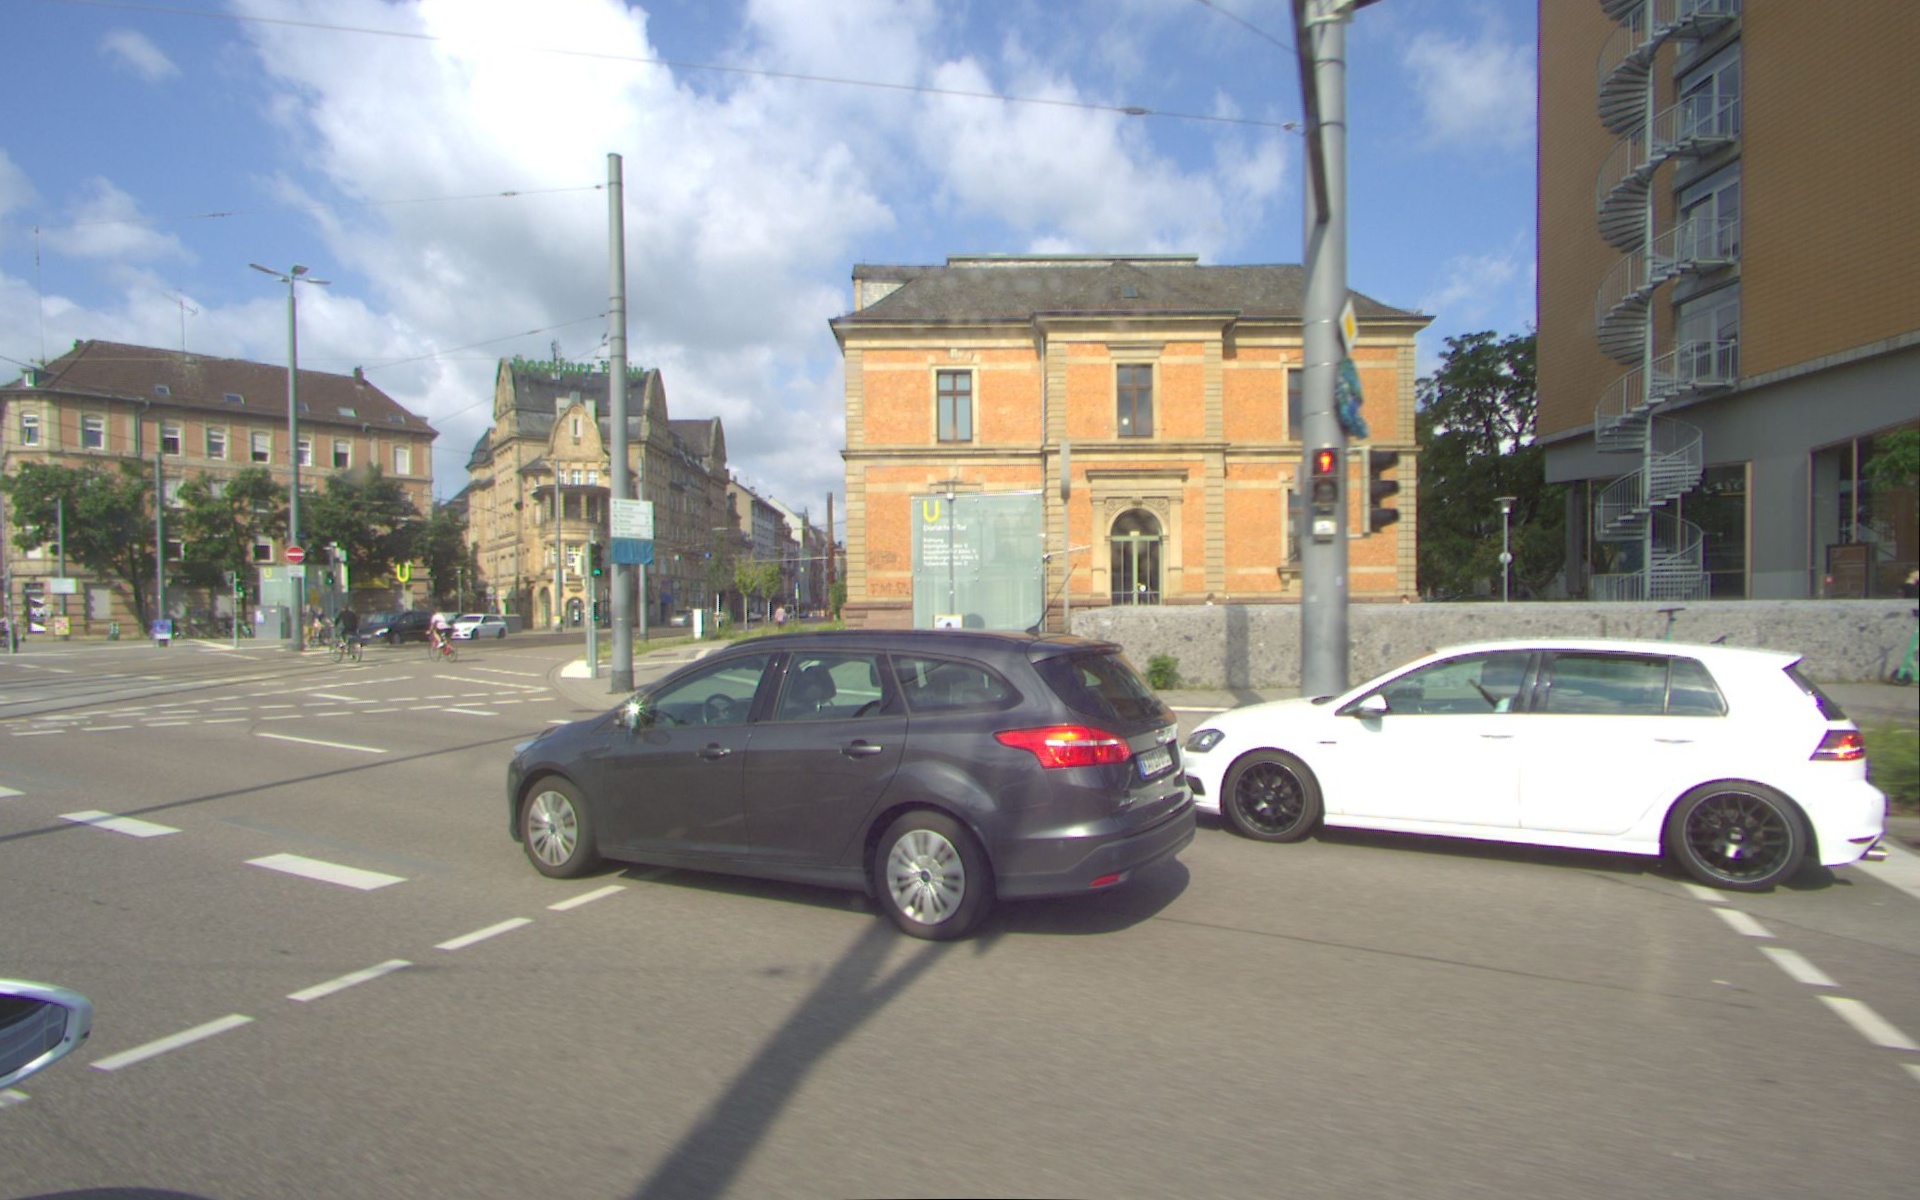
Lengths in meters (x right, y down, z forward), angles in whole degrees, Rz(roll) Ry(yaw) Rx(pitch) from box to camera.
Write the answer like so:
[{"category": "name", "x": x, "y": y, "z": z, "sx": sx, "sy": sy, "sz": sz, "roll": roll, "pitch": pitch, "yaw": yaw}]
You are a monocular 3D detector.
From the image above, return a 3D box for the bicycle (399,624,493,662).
[{"category": "bicycle", "x": -15.591, "y": 1.312, "z": 30.334, "sx": 3.062, "sy": 1.040, "sz": 0.992, "roll": -3, "pitch": -3, "yaw": 29}]

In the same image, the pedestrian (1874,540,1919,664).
[{"category": "pedestrian", "x": 15.981, "y": 0.024, "z": 16.835, "sx": 0.796, "sy": 2.041, "sz": 0.720, "roll": -1, "pitch": 3, "yaw": 33}]

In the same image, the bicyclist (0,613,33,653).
[{"category": "bicyclist", "x": -40.361, "y": 1.384, "z": 42.573, "sx": 0.770, "sy": 1.680, "sz": 1.197, "roll": -1, "pitch": 1, "yaw": -5}]

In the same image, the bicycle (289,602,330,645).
[{"category": "bicycle", "x": -27.465, "y": 1.008, "z": 42.266, "sx": 1.611, "sy": 1.800, "sz": 0.729, "roll": -1, "pitch": -1, "yaw": 26}]

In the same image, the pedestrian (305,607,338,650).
[{"category": "pedestrian", "x": -27.879, "y": 1.236, "z": 43.753, "sx": 0.871, "sy": 1.833, "sz": 0.866, "roll": 0, "pitch": -1, "yaw": 17}]

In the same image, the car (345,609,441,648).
[{"category": "car", "x": -26.876, "y": 1.369, "z": 47.653, "sx": 1.961, "sy": 1.761, "sz": 4.343, "roll": 0, "pitch": -2, "yaw": 2}]

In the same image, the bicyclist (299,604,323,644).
[{"category": "bicyclist", "x": -27.375, "y": 1.020, "z": 42.234, "sx": 0.645, "sy": 1.692, "sz": 0.572, "roll": -1, "pitch": -1, "yaw": 26}]

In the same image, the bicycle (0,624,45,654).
[{"category": "bicycle", "x": -40.355, "y": 1.642, "z": 42.418, "sx": 0.883, "sy": 1.186, "sz": 2.679, "roll": 0, "pitch": 0, "yaw": -5}]

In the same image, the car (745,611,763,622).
[{"category": "car", "x": -29.135, "y": 2.314, "z": 141.753, "sx": 1.815, "sy": 1.558, "sz": 3.822, "roll": 0, "pitch": 0, "yaw": 0}]

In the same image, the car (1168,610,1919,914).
[{"category": "car", "x": 3.727, "y": 0.889, "z": 6.856, "sx": 4.168, "sy": 1.464, "sz": 1.678, "roll": 1, "pitch": -2, "yaw": 30}]

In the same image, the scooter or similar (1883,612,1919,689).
[{"category": "scooter or similar", "x": 14.645, "y": 0.765, "z": 14.965, "sx": 0.397, "sy": 1.146, "sz": 1.183, "roll": -1, "pitch": 1, "yaw": -22}]

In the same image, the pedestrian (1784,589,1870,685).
[{"category": "pedestrian", "x": 15.352, "y": 0.631, "z": 17.735, "sx": 0.754, "sy": 1.610, "sz": 0.933, "roll": -4, "pitch": 4, "yaw": -31}]

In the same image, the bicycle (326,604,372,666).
[{"category": "bicycle", "x": -18.136, "y": 1.030, "z": 29.708, "sx": 0.996, "sy": 1.747, "sz": 2.452, "roll": 0, "pitch": -1, "yaw": -36}]

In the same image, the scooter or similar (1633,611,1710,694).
[{"category": "scooter or similar", "x": 11.036, "y": 0.792, "z": 15.562, "sx": 0.395, "sy": 1.213, "sz": 1.186, "roll": -1, "pitch": 1, "yaw": 3}]

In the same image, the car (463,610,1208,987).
[{"category": "car", "x": -0.819, "y": 0.866, "z": 6.021, "sx": 4.189, "sy": 1.549, "sz": 1.765, "roll": 0, "pitch": 2, "yaw": 28}]

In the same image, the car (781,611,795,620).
[{"category": "car", "x": -29.346, "y": 2.627, "z": 171.167, "sx": 1.815, "sy": 1.558, "sz": 3.822, "roll": 0, "pitch": 0, "yaw": 0}]

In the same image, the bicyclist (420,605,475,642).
[{"category": "bicyclist", "x": -15.503, "y": 0.714, "z": 30.300, "sx": 1.197, "sy": 1.040, "sz": 0.990, "roll": -3, "pitch": -4, "yaw": 28}]

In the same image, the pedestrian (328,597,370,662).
[{"category": "pedestrian", "x": -18.047, "y": 0.877, "z": 29.587, "sx": 0.983, "sy": 1.865, "sz": 0.989, "roll": 0, "pitch": -1, "yaw": -36}]

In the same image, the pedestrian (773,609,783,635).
[{"category": "pedestrian", "x": -10.431, "y": 1.261, "z": 57.436, "sx": 0.497, "sy": 1.525, "sz": 0.499, "roll": 0, "pitch": 0, "yaw": -5}]

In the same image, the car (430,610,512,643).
[{"category": "car", "x": -26.358, "y": 1.405, "z": 54.177, "sx": 1.961, "sy": 1.617, "sz": 4.683, "roll": 0, "pitch": 1, "yaw": 2}]

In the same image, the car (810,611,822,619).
[{"category": "car", "x": -29.181, "y": 2.955, "z": 202.569, "sx": 1.815, "sy": 1.558, "sz": 3.822, "roll": 0, "pitch": 0, "yaw": 0}]
